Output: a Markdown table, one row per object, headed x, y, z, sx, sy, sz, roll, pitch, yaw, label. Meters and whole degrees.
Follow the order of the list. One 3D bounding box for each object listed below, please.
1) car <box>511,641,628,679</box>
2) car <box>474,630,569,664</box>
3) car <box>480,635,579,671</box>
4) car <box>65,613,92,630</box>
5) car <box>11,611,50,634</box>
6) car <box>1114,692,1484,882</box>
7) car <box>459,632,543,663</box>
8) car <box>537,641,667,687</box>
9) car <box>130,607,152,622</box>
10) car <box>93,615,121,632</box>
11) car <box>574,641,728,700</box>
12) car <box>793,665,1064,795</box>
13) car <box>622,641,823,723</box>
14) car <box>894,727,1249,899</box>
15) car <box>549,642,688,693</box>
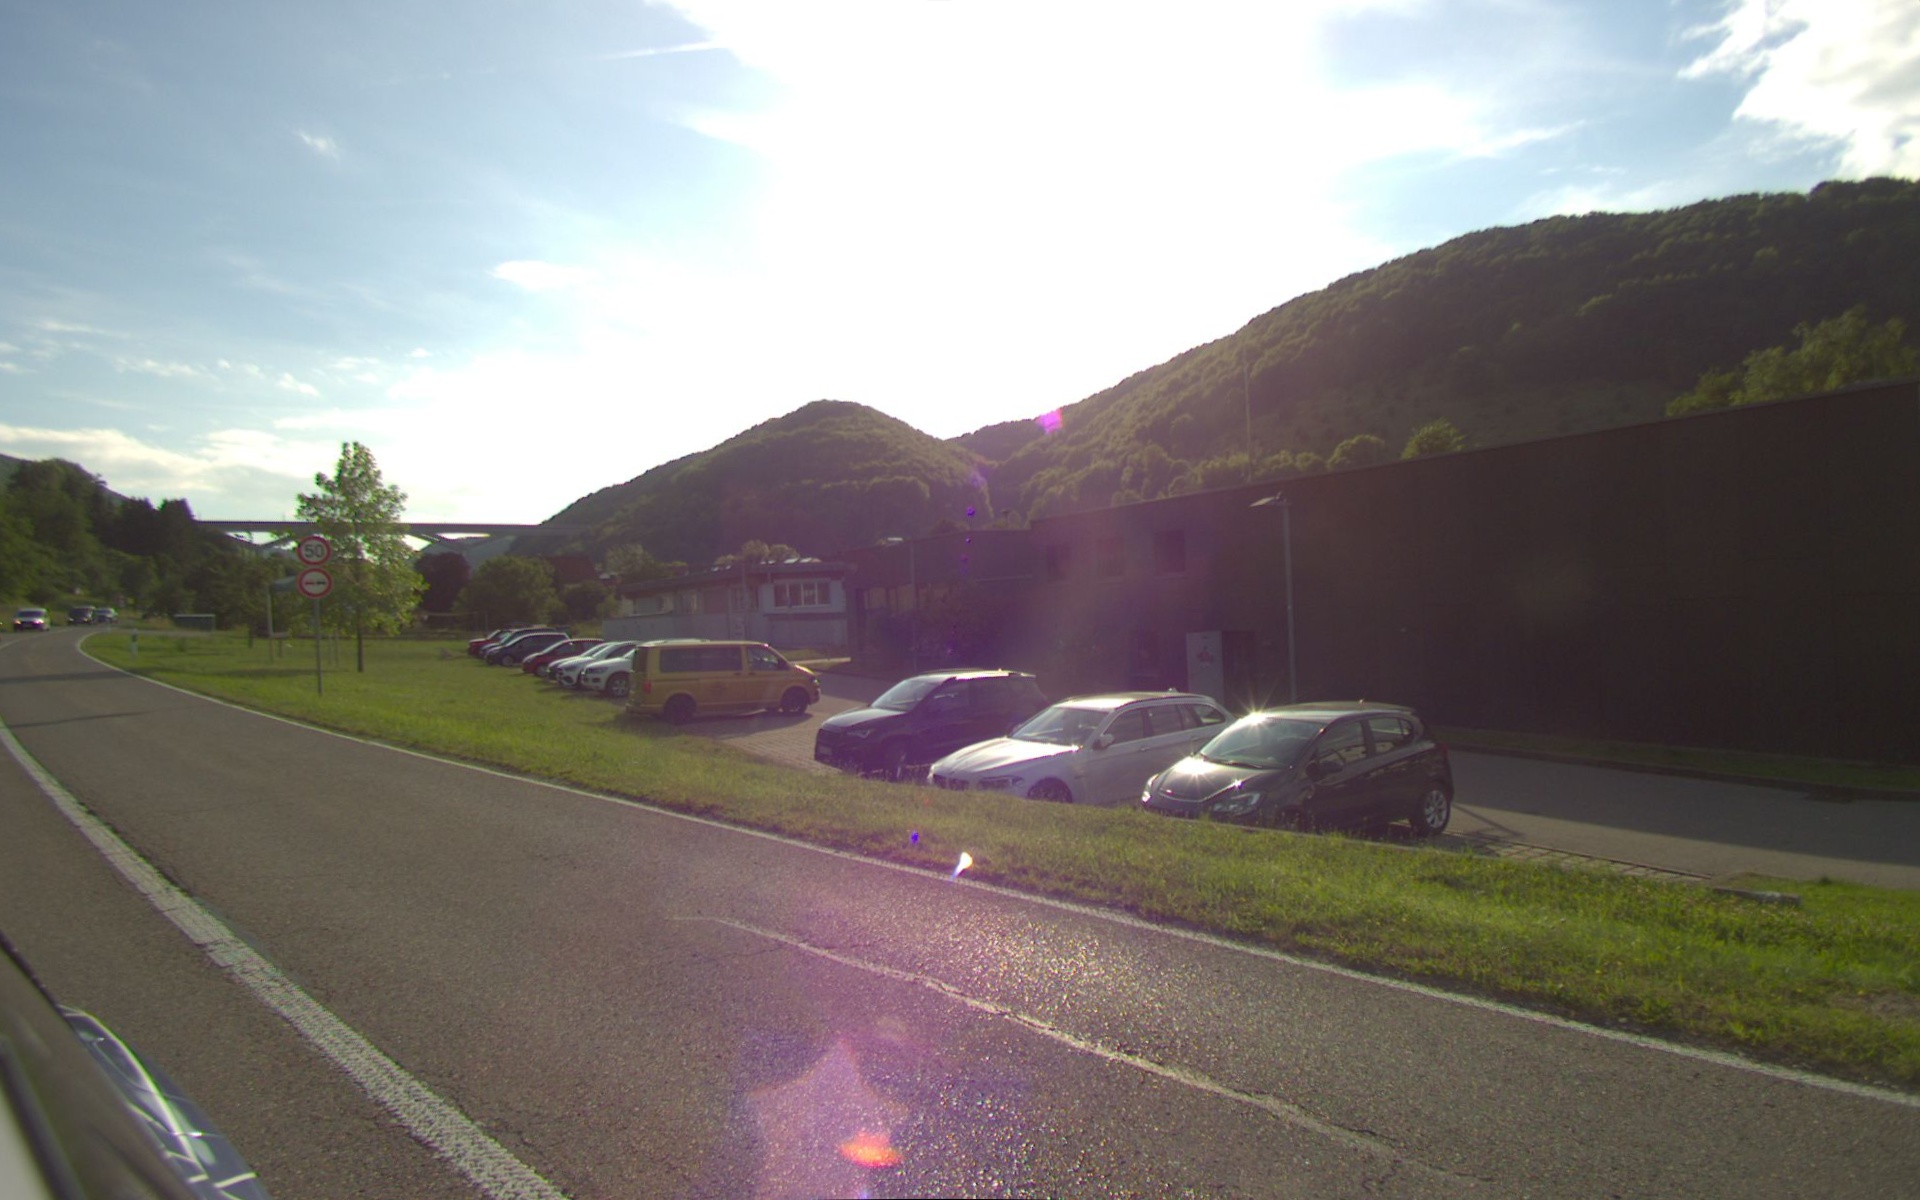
| x | y | z | sx | sy | sz | roll | pitch | yaw | label |
| --- | --- | --- | --- | --- | --- | --- | --- | --- | --- |
| -16.588 | 2.512 | 42.993 | 4.370 | 1.463 | 2.006 | 0 | -2 | -30 | car |
| -24.184 | 2.553 | 55.890 | 4.595 | 1.776 | 2.006 | 0 | -2 | -31 | car |
| -21.939 | 2.674 | 51.618 | 4.371 | 1.595 | 2.006 | -1 | -1 | -31 | car |
| -87.903 | 2.120 | 100.982 | 1.652 | 1.659 | 3.354 | 0 | -1 | -34 | car |
| -72.270 | 1.754 | 78.712 | 1.771 | 1.749 | 4.293 | -1 | -1 | -37 | car |
| 3.871 | 1.943 | 11.444 | 3.932 | 1.546 | 1.839 | 0 | -2 | -31 | car |
| -27.290 | 2.791 | 60.225 | 4.371 | 1.733 | 2.006 | 0 | -2 | -31 | car |
| -13.710 | 2.393 | 38.844 | 4.371 | 1.595 | 2.006 | 1 | -2 | -32 | car |
| -111.271 | 1.993 | 137.479 | 1.880 | 1.918 | 4.011 | 0 | 0 | -32 | car |
| -95.521 | 2.682 | 113.408 | 1.967 | 1.730 | 4.010 | -2 | -1 | -35 | car |
| -10.061 | 2.247 | 33.005 | 4.477 | 1.714 | 2.006 | 0 | -2 | -30 | car |
| -0.483 | 2.088 | 17.242 | 4.226 | 1.650 | 1.917 | -2 | -1 | -35 | car |
| -6.021 | 2.009 | 25.761 | 4.583 | 1.827 | 2.006 | 0 | -2 | -30 | car |
| 1.580 | 2.674 | 13.580 | 4.577 | 1.508 | 1.918 | 1 | -2 | -34 | car |
| -12.084 | 2.343 | 35.876 | 4.370 | 1.599 | 2.006 | 0 | -2 | -30 | car |
